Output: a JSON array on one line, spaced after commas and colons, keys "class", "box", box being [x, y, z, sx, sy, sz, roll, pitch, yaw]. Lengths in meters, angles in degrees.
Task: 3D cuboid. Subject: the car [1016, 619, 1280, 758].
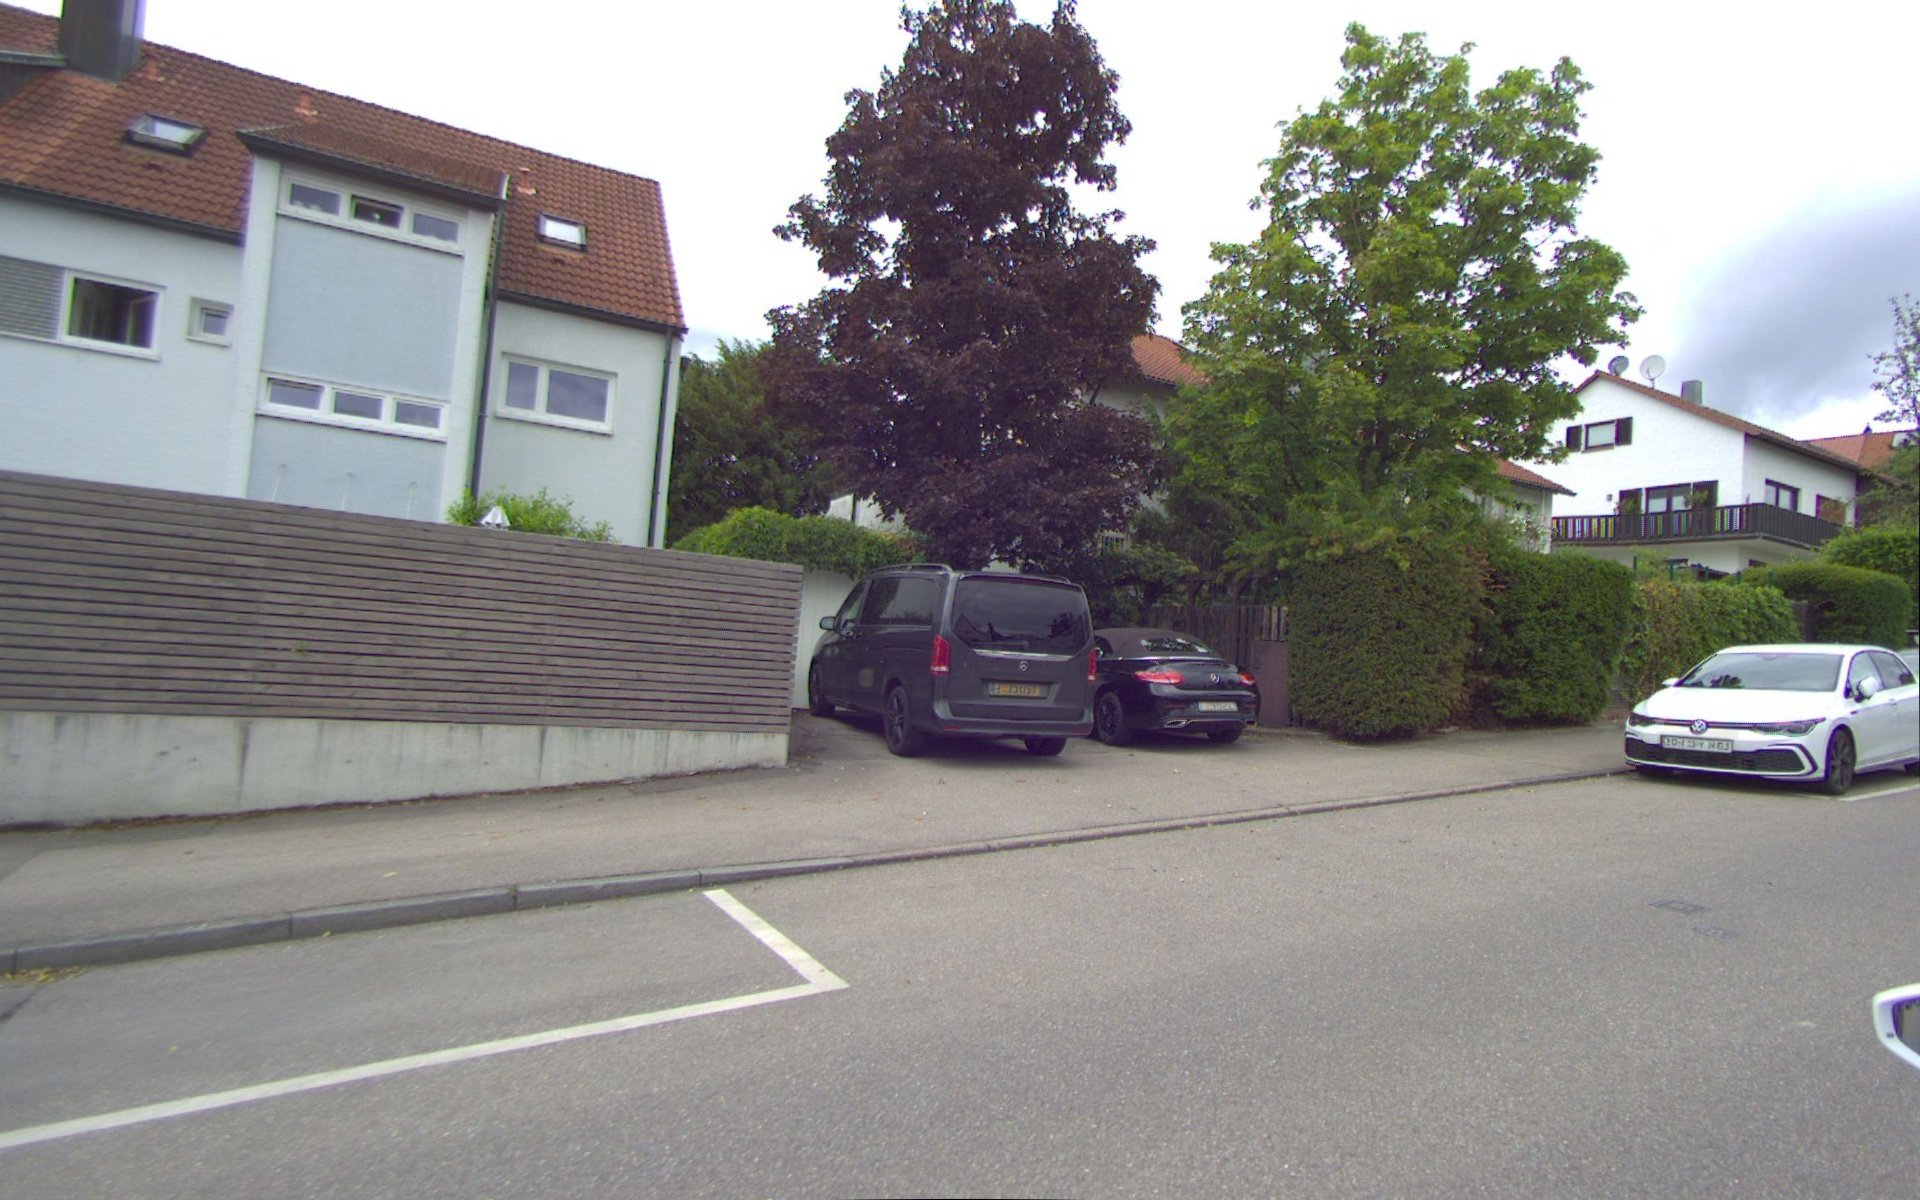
[{"class": "car", "box": [2.246, 1.032, 13.162, 1.750, 1.464, 3.985, 2, -1, -17]}]

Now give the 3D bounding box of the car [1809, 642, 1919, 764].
[{"class": "car", "box": [13.091, 1.308, 13.173, 4.031, 1.442, 1.719, 2, -3, -30]}]

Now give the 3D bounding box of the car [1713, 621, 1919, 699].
[{"class": "car", "box": [21.035, 1.371, 24.421, 1.764, 1.554, 3.974, 1, 1, -25]}]

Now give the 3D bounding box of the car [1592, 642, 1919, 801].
[{"class": "car", "box": [9.069, 1.189, 11.052, 4.358, 1.441, 1.828, 2, -3, -31]}]

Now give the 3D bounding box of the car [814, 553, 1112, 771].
[{"class": "car", "box": [-0.191, 0.640, 11.374, 1.971, 1.975, 4.066, 3, -2, -21]}]
